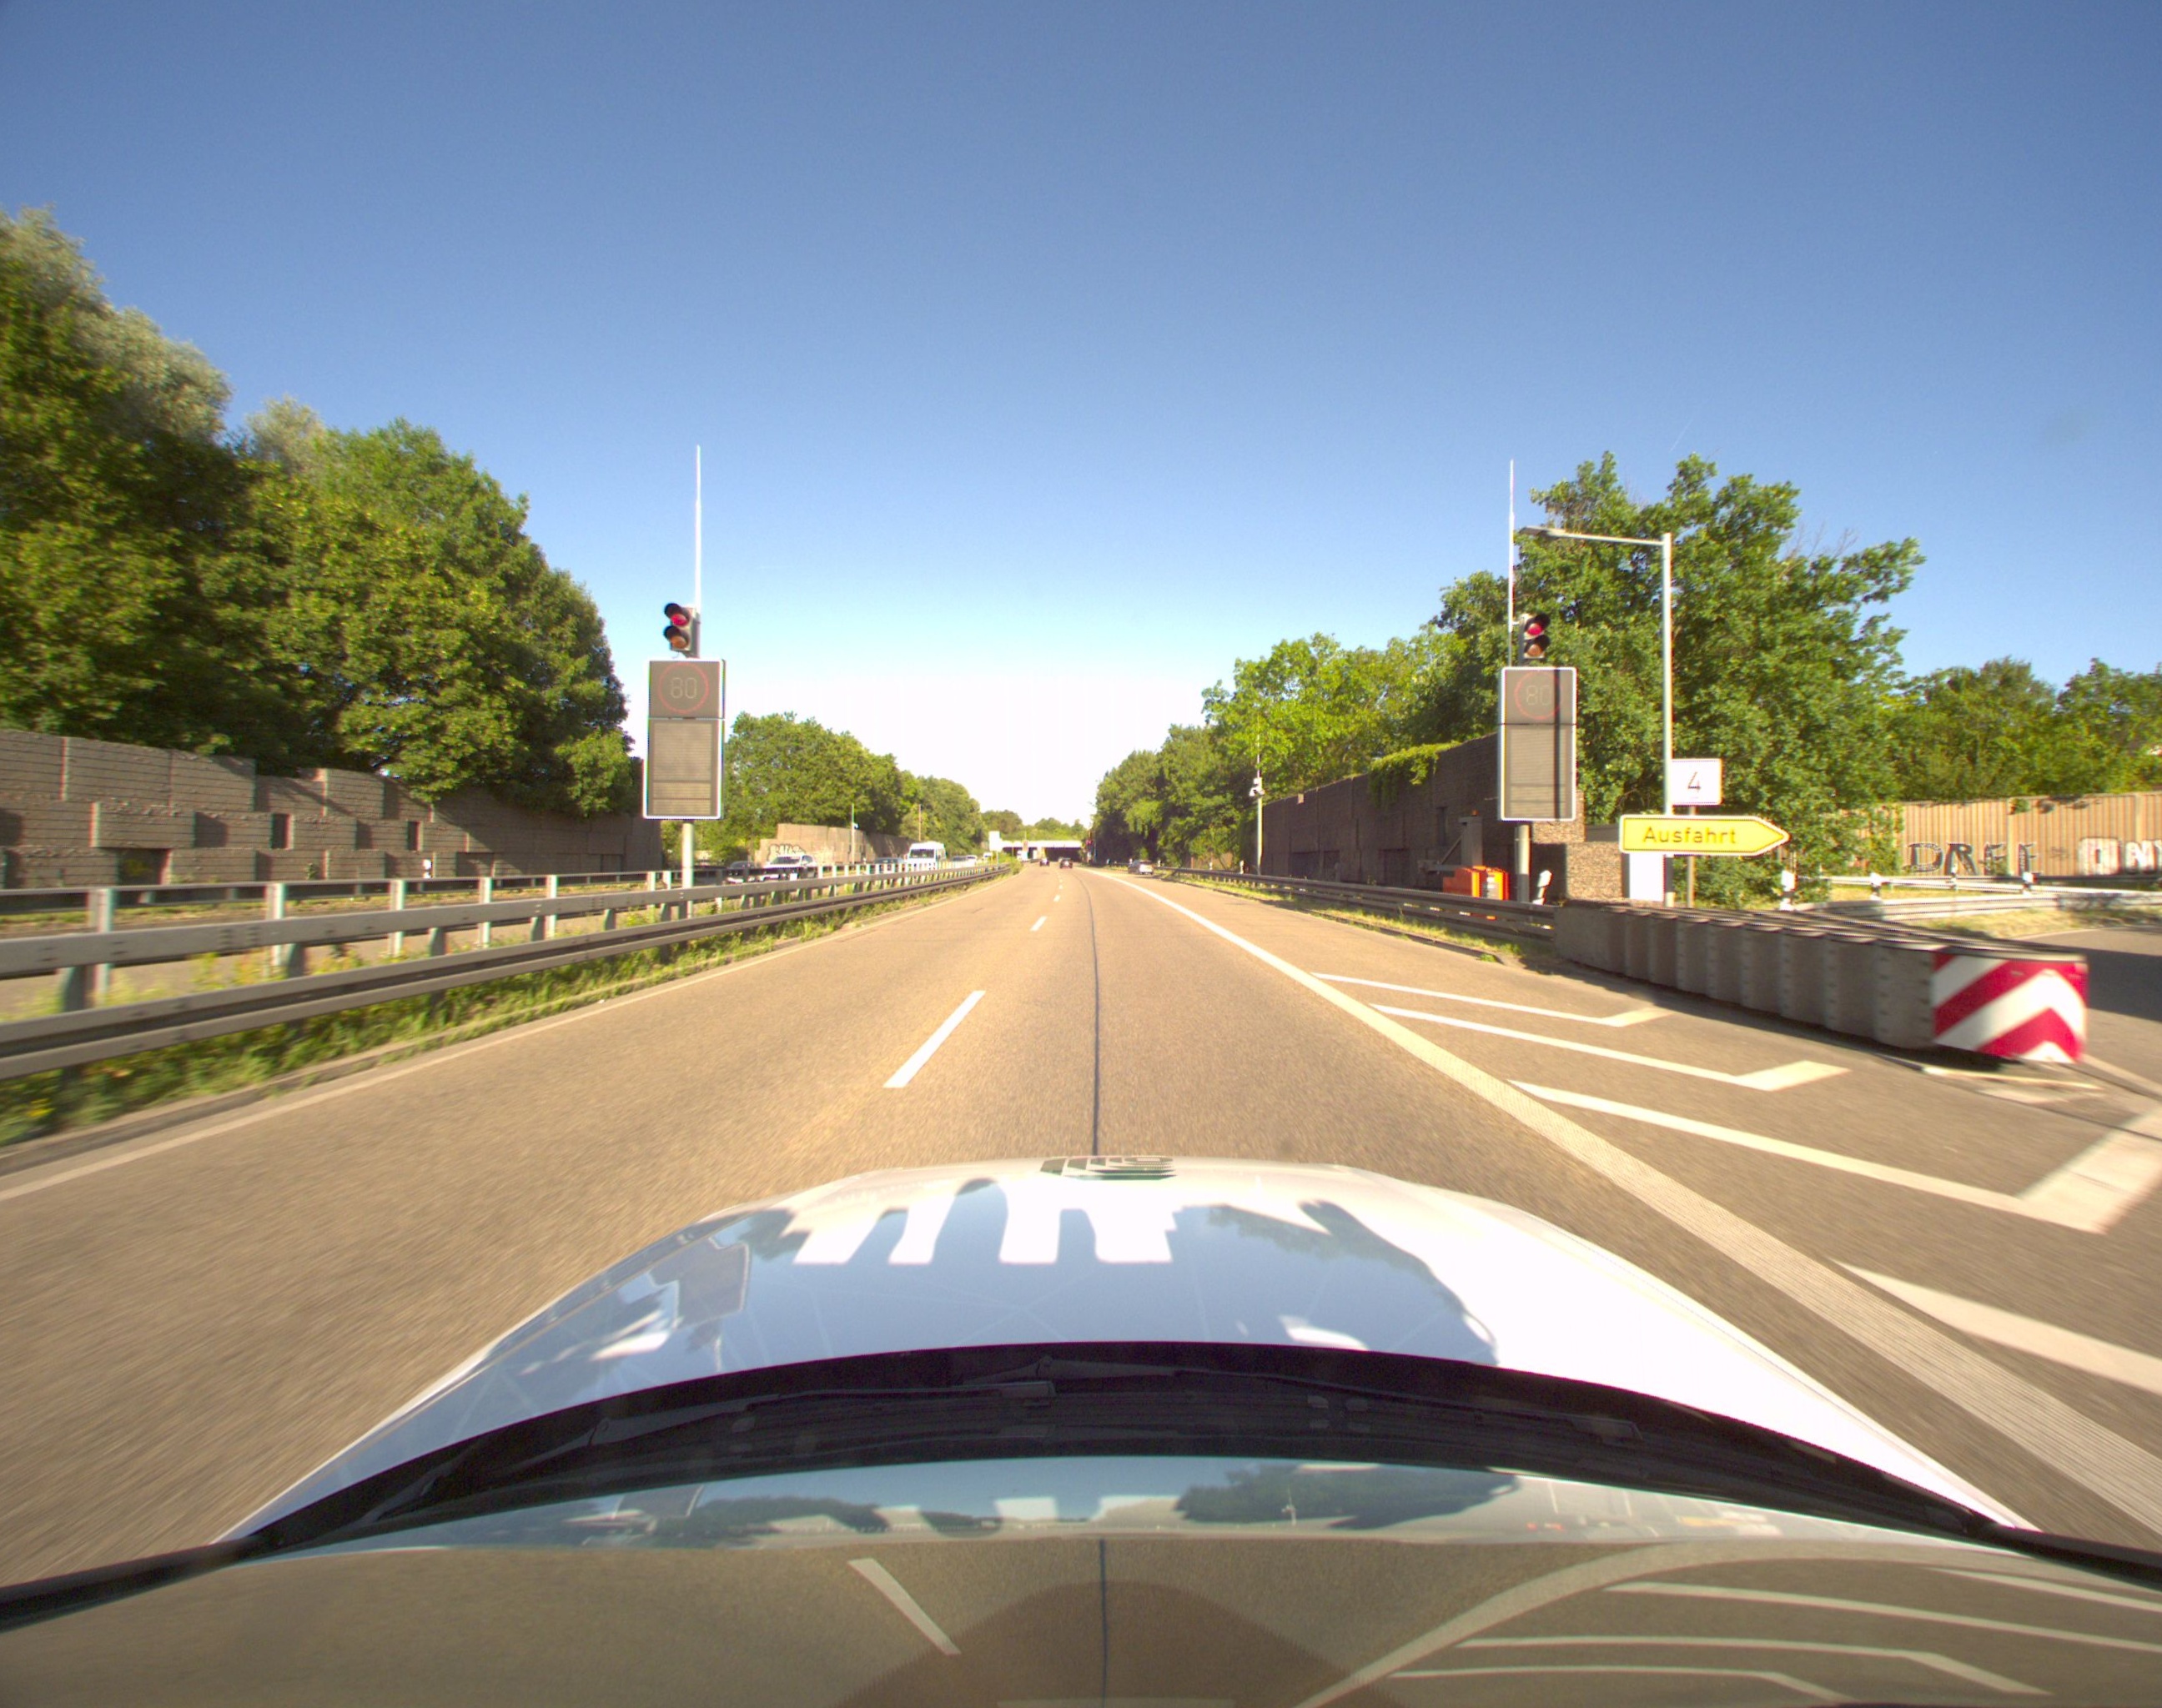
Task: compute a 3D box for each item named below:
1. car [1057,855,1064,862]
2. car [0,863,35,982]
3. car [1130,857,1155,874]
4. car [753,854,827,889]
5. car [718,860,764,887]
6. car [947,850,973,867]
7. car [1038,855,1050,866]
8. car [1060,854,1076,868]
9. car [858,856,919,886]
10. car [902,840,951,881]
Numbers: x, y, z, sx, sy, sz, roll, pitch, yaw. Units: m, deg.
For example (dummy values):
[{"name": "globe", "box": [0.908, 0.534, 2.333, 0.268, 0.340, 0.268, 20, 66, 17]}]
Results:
[{"name": "car", "box": [-6.287, 1.281, 245.476, 1.989, 1.925, 3.995, 1, 0, -4]}, {"name": "car", "box": [-14.661, 0.864, 8.328, 1.986, 1.480, 4.535, 2, 1, 1]}, {"name": "car", "box": [6.162, 1.142, 81.373, 1.666, 1.552, 3.990, 2, 0, -8]}, {"name": "car", "box": [-14.726, 0.832, 41.496, 1.986, 1.596, 4.622, 2, 1, 1]}, {"name": "car", "box": [-20.088, 1.118, 48.259, 1.998, 1.388, 4.007, 2, 1, -16]}, {"name": "car", "box": [-12.025, 0.458, 80.983, 1.988, 1.579, 4.245, -1, 1, -2]}, {"name": "car", "box": [-6.716, 1.190, 146.193, 1.990, 1.925, 3.993, 1, 0, -5]}, {"name": "car", "box": [-1.950, 1.055, 119.979, 1.990, 1.925, 3.993, 1, 0, -5]}, {"name": "car", "box": [-10.447, 0.880, 44.635, 1.986, 1.434, 5.091, 2, 1, 1]}, {"name": "car", "box": [-11.049, 0.410, 58.719, 2.113, 2.683, 6.589, 2, 0, 1]}]
